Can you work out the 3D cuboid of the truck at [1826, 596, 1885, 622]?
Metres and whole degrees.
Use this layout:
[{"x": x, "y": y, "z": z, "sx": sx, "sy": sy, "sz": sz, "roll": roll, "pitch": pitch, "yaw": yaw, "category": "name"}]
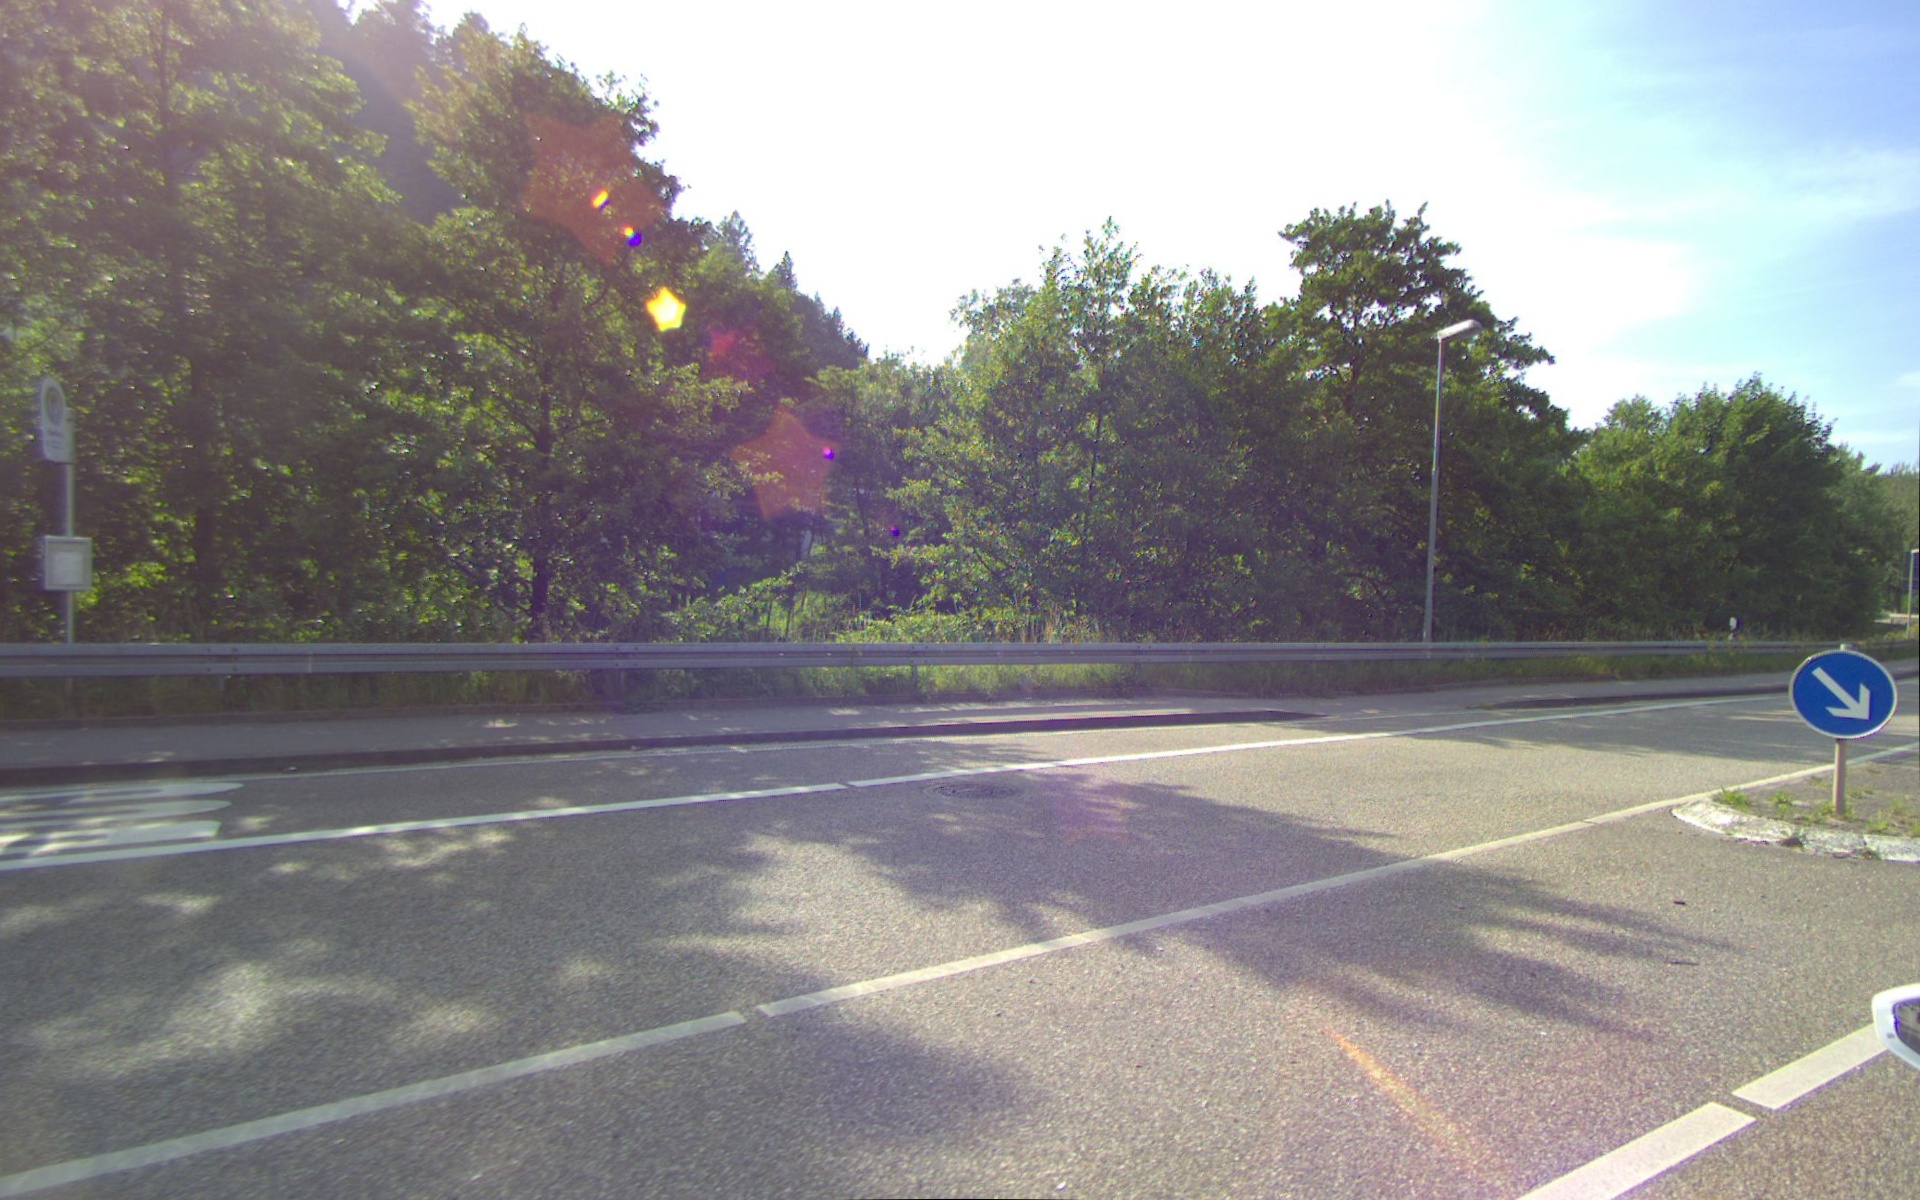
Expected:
[{"x": 110.602, "y": 1.082, "z": 124.186, "sx": 2.665, "sy": 3.125, "sz": 6.111, "roll": 1, "pitch": 1, "yaw": 11, "category": "truck"}]
